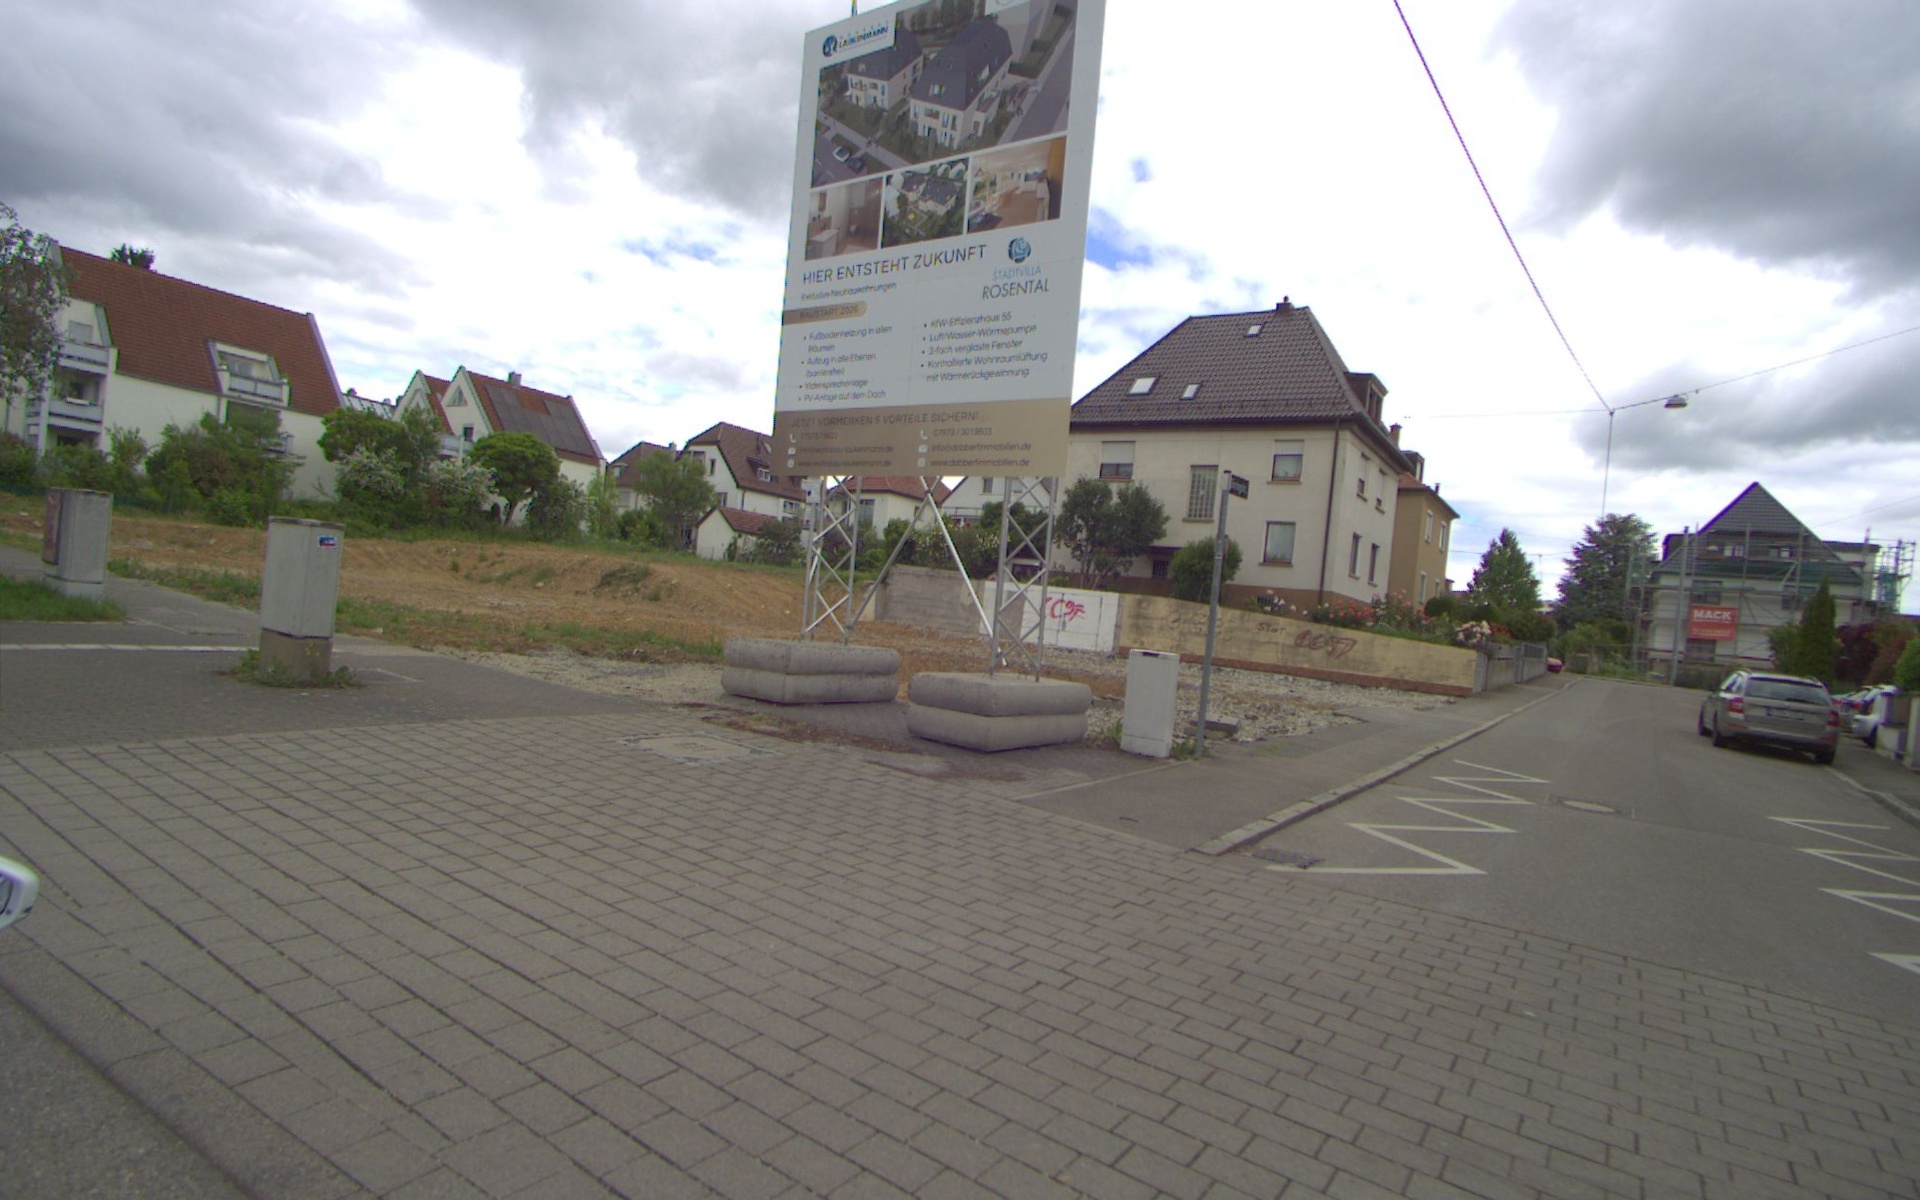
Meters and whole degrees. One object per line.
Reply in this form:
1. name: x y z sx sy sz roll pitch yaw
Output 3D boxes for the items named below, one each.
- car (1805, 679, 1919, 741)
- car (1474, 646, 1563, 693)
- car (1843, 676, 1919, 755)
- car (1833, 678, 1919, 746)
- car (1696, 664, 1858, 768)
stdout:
1. car: 25.789 3.113 27.795 3.445 1.339 1.620 6 -2 33
2. car: 30.977 3.860 55.804 3.938 2.037 1.995 6 -2 36
3. car: 21.676 2.681 21.835 3.445 1.558 1.620 6 -2 33
4. car: 24.584 2.964 25.433 3.445 1.484 1.620 6 -2 33
5. car: 15.280 2.082 19.038 1.731 1.443 4.220 8 2 32
